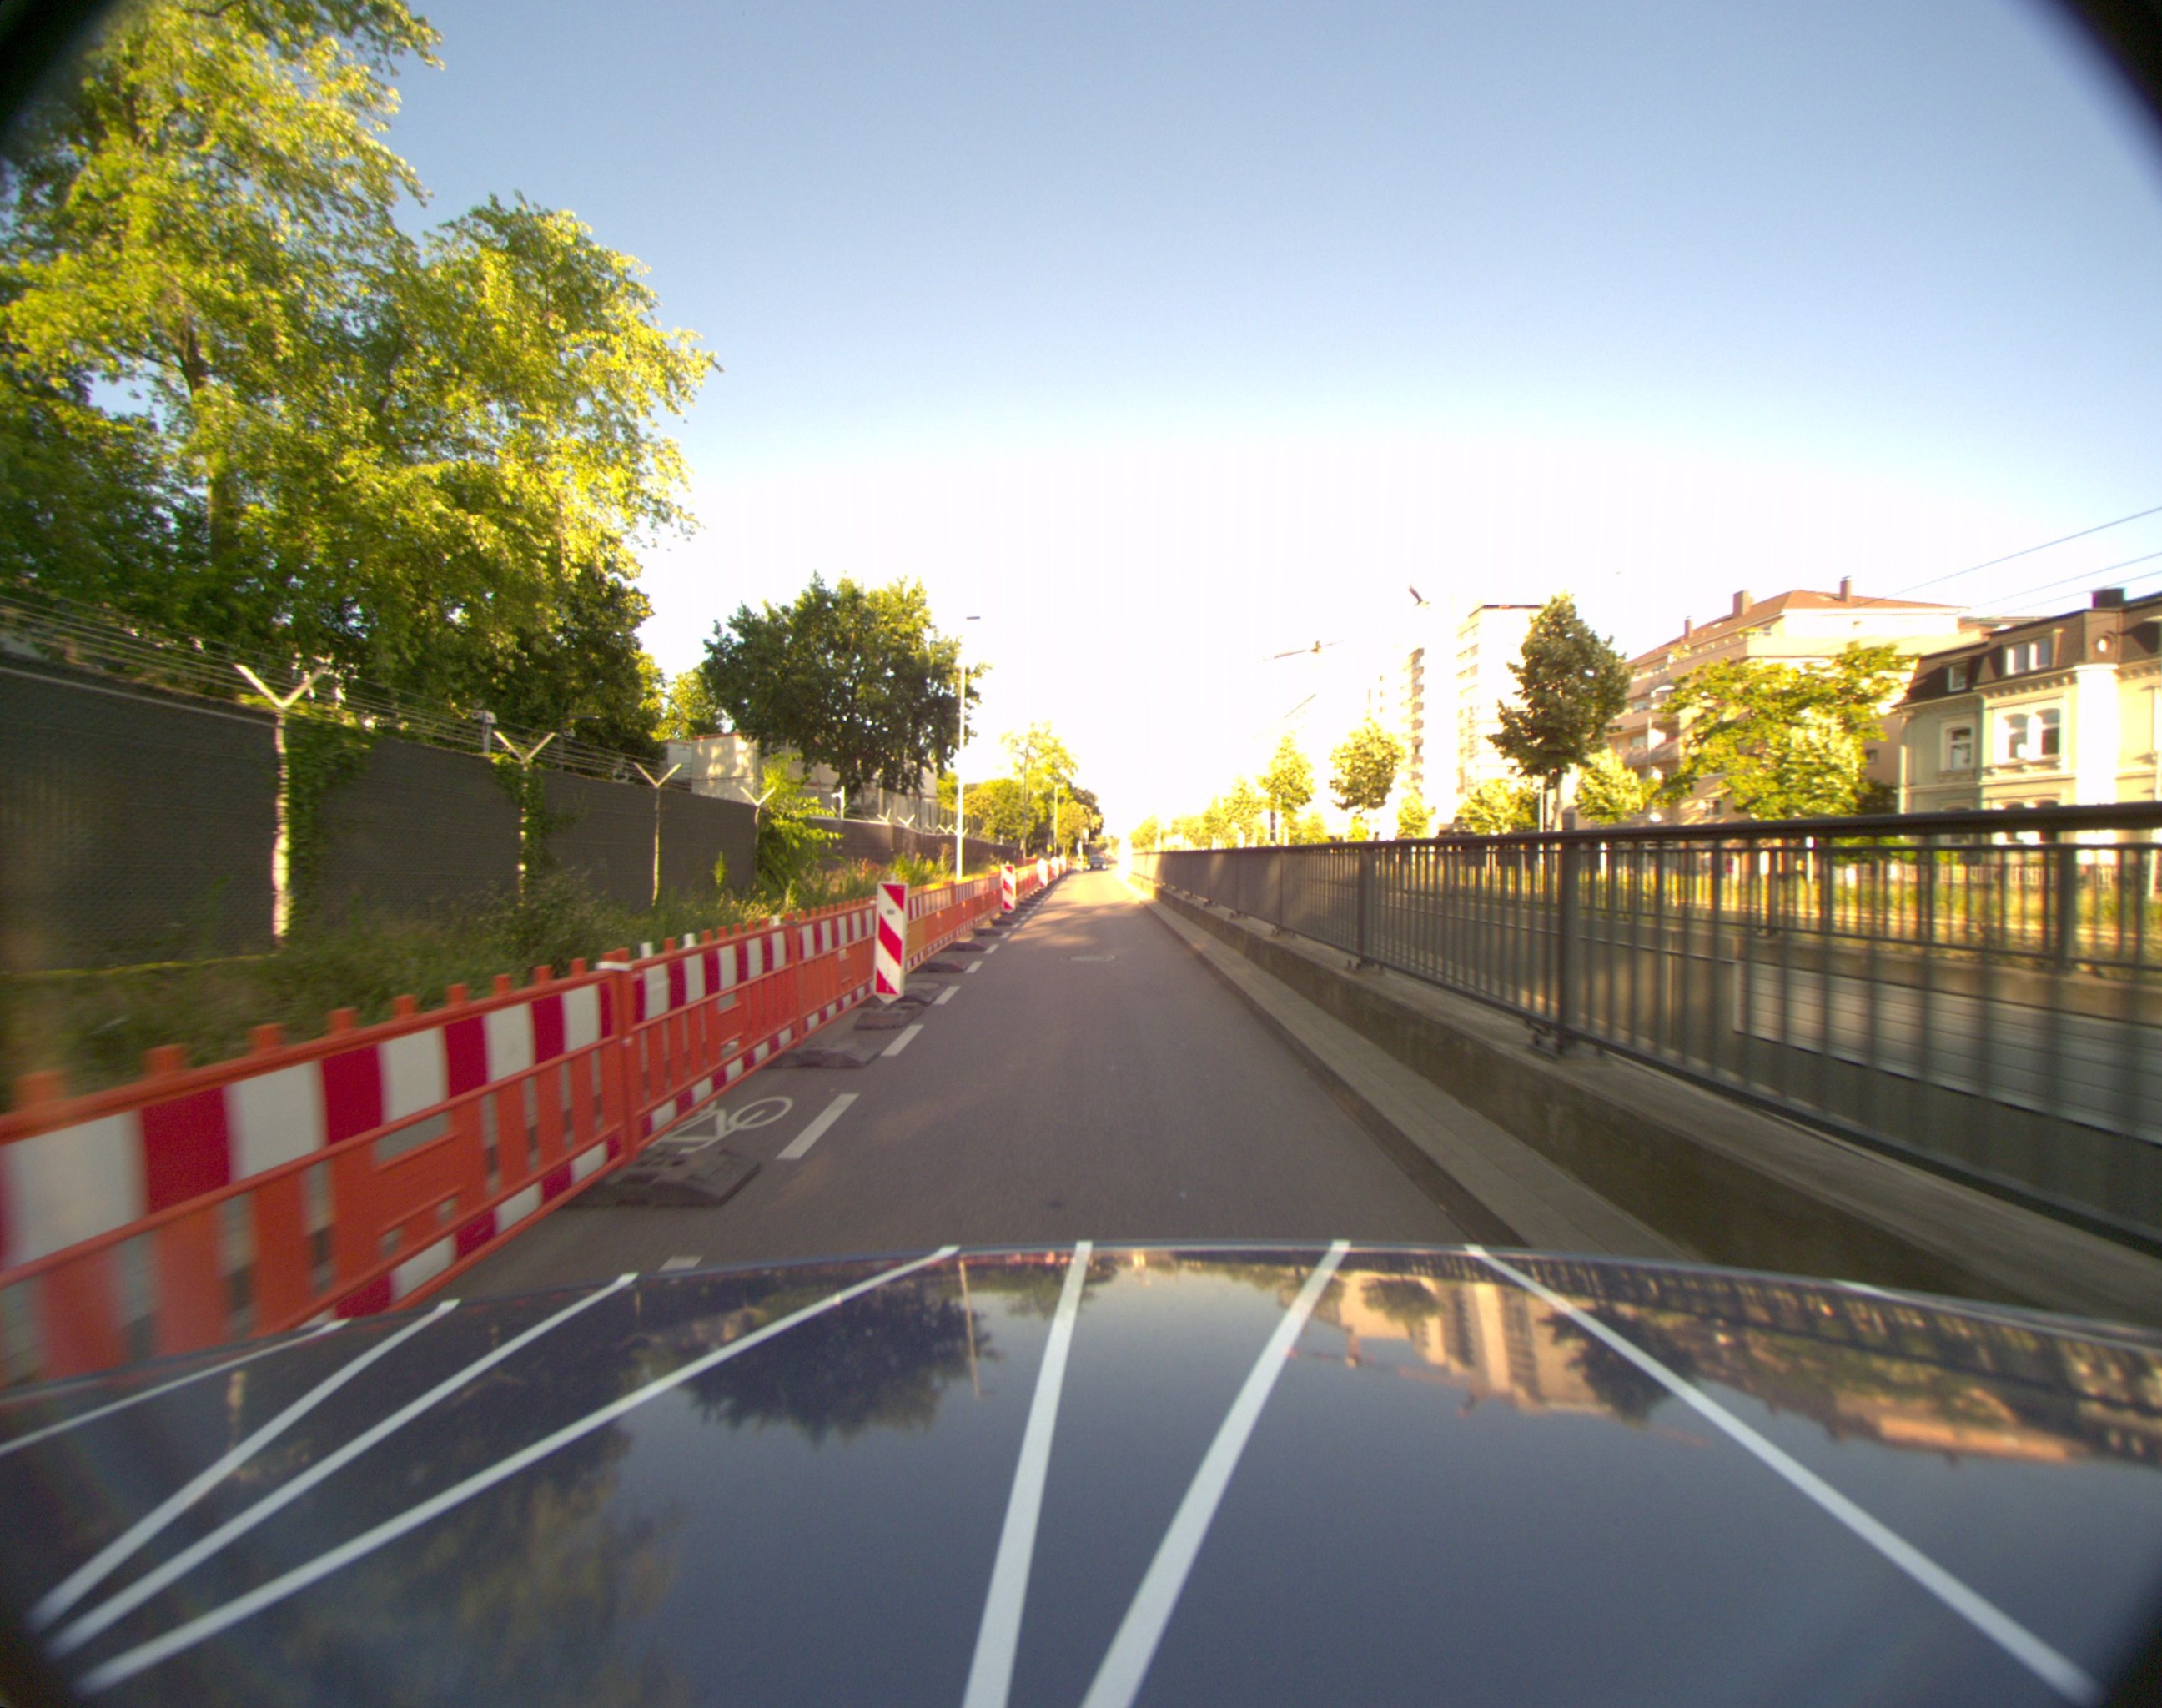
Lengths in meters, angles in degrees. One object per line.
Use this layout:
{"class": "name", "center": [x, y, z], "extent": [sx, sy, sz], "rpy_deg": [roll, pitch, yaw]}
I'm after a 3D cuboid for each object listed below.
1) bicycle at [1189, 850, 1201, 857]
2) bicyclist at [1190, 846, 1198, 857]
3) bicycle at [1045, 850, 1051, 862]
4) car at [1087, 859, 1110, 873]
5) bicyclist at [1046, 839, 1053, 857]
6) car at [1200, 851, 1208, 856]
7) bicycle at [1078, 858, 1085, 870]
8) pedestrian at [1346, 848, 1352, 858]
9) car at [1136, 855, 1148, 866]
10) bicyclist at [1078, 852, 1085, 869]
{"class": "bicycle", "center": [14.530, -0.065, 96.997], "extent": [0.507, 0.886, 2.027], "rpy_deg": [-1, 1, -22]}
{"class": "bicyclist", "center": [14.395, -0.336, 96.967], "extent": [0.737, 1.386, 0.715], "rpy_deg": [-1, 1, -23]}
{"class": "bicycle", "center": [-2.975, 0.215, 68.488], "extent": [0.428, 1.055, 1.911], "rpy_deg": [0, 1, 2]}
{"class": "car", "center": [1.706, 1.134, 73.323], "extent": [1.998, 1.346, 4.001], "rpy_deg": [0, 0, 4]}
{"class": "bicyclist", "center": [-2.871, -0.544, 68.854], "extent": [0.585, 1.605, 0.903], "rpy_deg": [0, 1, 2]}
{"class": "car", "center": [35.889, -0.139, 221.605], "extent": [1.780, 1.455, 4.662], "rpy_deg": [0, 0, 1]}
{"class": "bicycle", "center": [0.069, 0.809, 61.709], "extent": [0.506, 1.018, 1.505], "rpy_deg": [0, 1, 2]}
{"class": "pedestrian", "center": [44.164, -0.232, 125.135], "extent": [0.776, 1.630, 0.882], "rpy_deg": [0, 1, 1]}
{"class": "car", "center": [8.292, 0.815, 103.409], "extent": [1.591, 1.449, 4.000], "rpy_deg": [0, 0, 2]}
{"class": "bicyclist", "center": [0.058, 0.525, 61.716], "extent": [0.516, 1.399, 0.805], "rpy_deg": [0, 1, 1]}
